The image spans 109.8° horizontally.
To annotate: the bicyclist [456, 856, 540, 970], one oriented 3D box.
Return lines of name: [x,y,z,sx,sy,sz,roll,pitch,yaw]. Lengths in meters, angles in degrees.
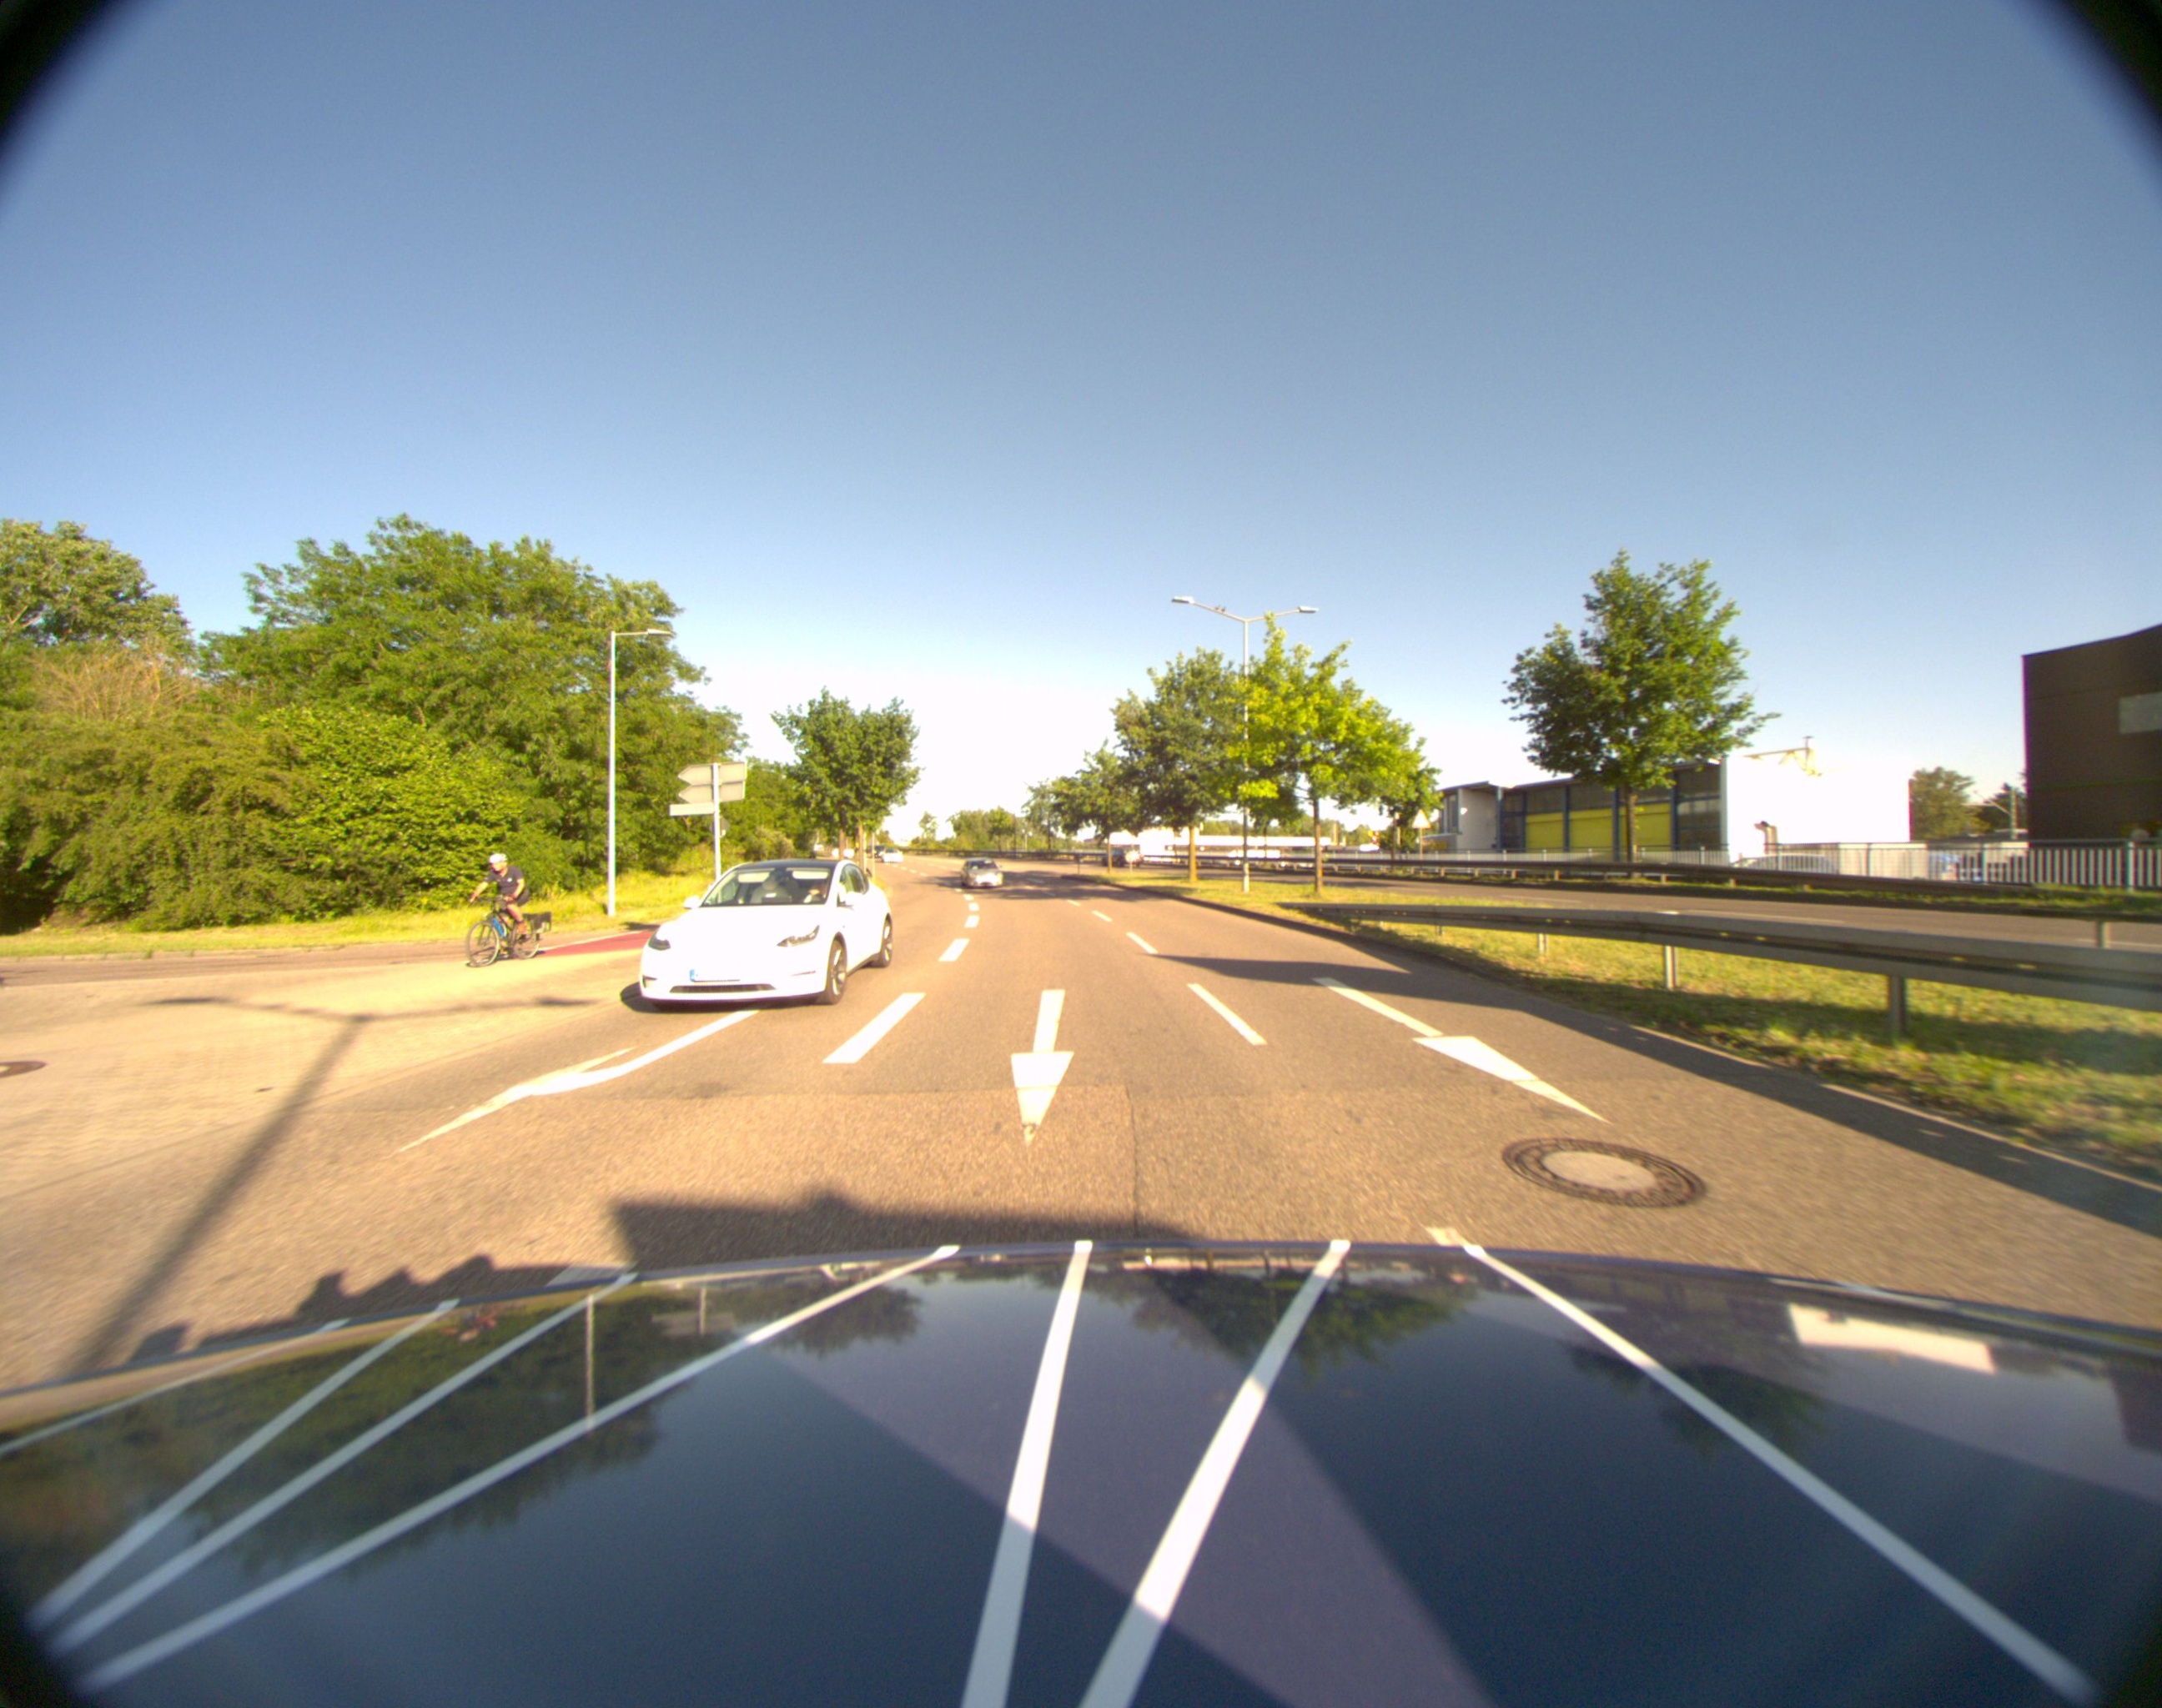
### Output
bicyclist: [-9.457,0.931,12.362,0.677,1.766,0.947,2,0,-9]

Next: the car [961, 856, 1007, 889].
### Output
car: [-4.964,0.897,38.329,1.685,1.433,3.853,-4,1,-15]

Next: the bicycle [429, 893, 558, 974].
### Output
bicycle: [-9.496,1.246,12.398,0.697,1.089,2.116,2,0,-9]

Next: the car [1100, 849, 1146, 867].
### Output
car: [3.273,0.299,59.913,1.807,1.302,4.606,-1,1,-23]

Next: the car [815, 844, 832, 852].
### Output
car: [-48.252,-1.070,142.439,1.771,1.480,4.265,-2,2,-35]

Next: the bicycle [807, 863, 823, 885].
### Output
bicycle: [-13.756,1.027,39.357,0.704,1.068,1.918,2,0,-18]

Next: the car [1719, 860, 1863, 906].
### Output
car: [25.846,1.064,27.803,3.479,1.558,1.615,-1,1,22]

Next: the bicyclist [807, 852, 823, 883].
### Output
bicyclist: [-13.753,0.692,39.358,0.710,1.569,1.003,2,0,-18]

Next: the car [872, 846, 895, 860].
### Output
car: [-24.865,-0.073,95.365,2.003,1.707,4.263,-1,0,-25]

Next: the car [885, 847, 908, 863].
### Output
car: [-19.487,0.113,80.123,2.153,1.558,4.192,3,0,-15]

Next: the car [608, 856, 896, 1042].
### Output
car: [-3.674,0.912,9.493,1.919,1.631,4.407,-1,1,-4]
